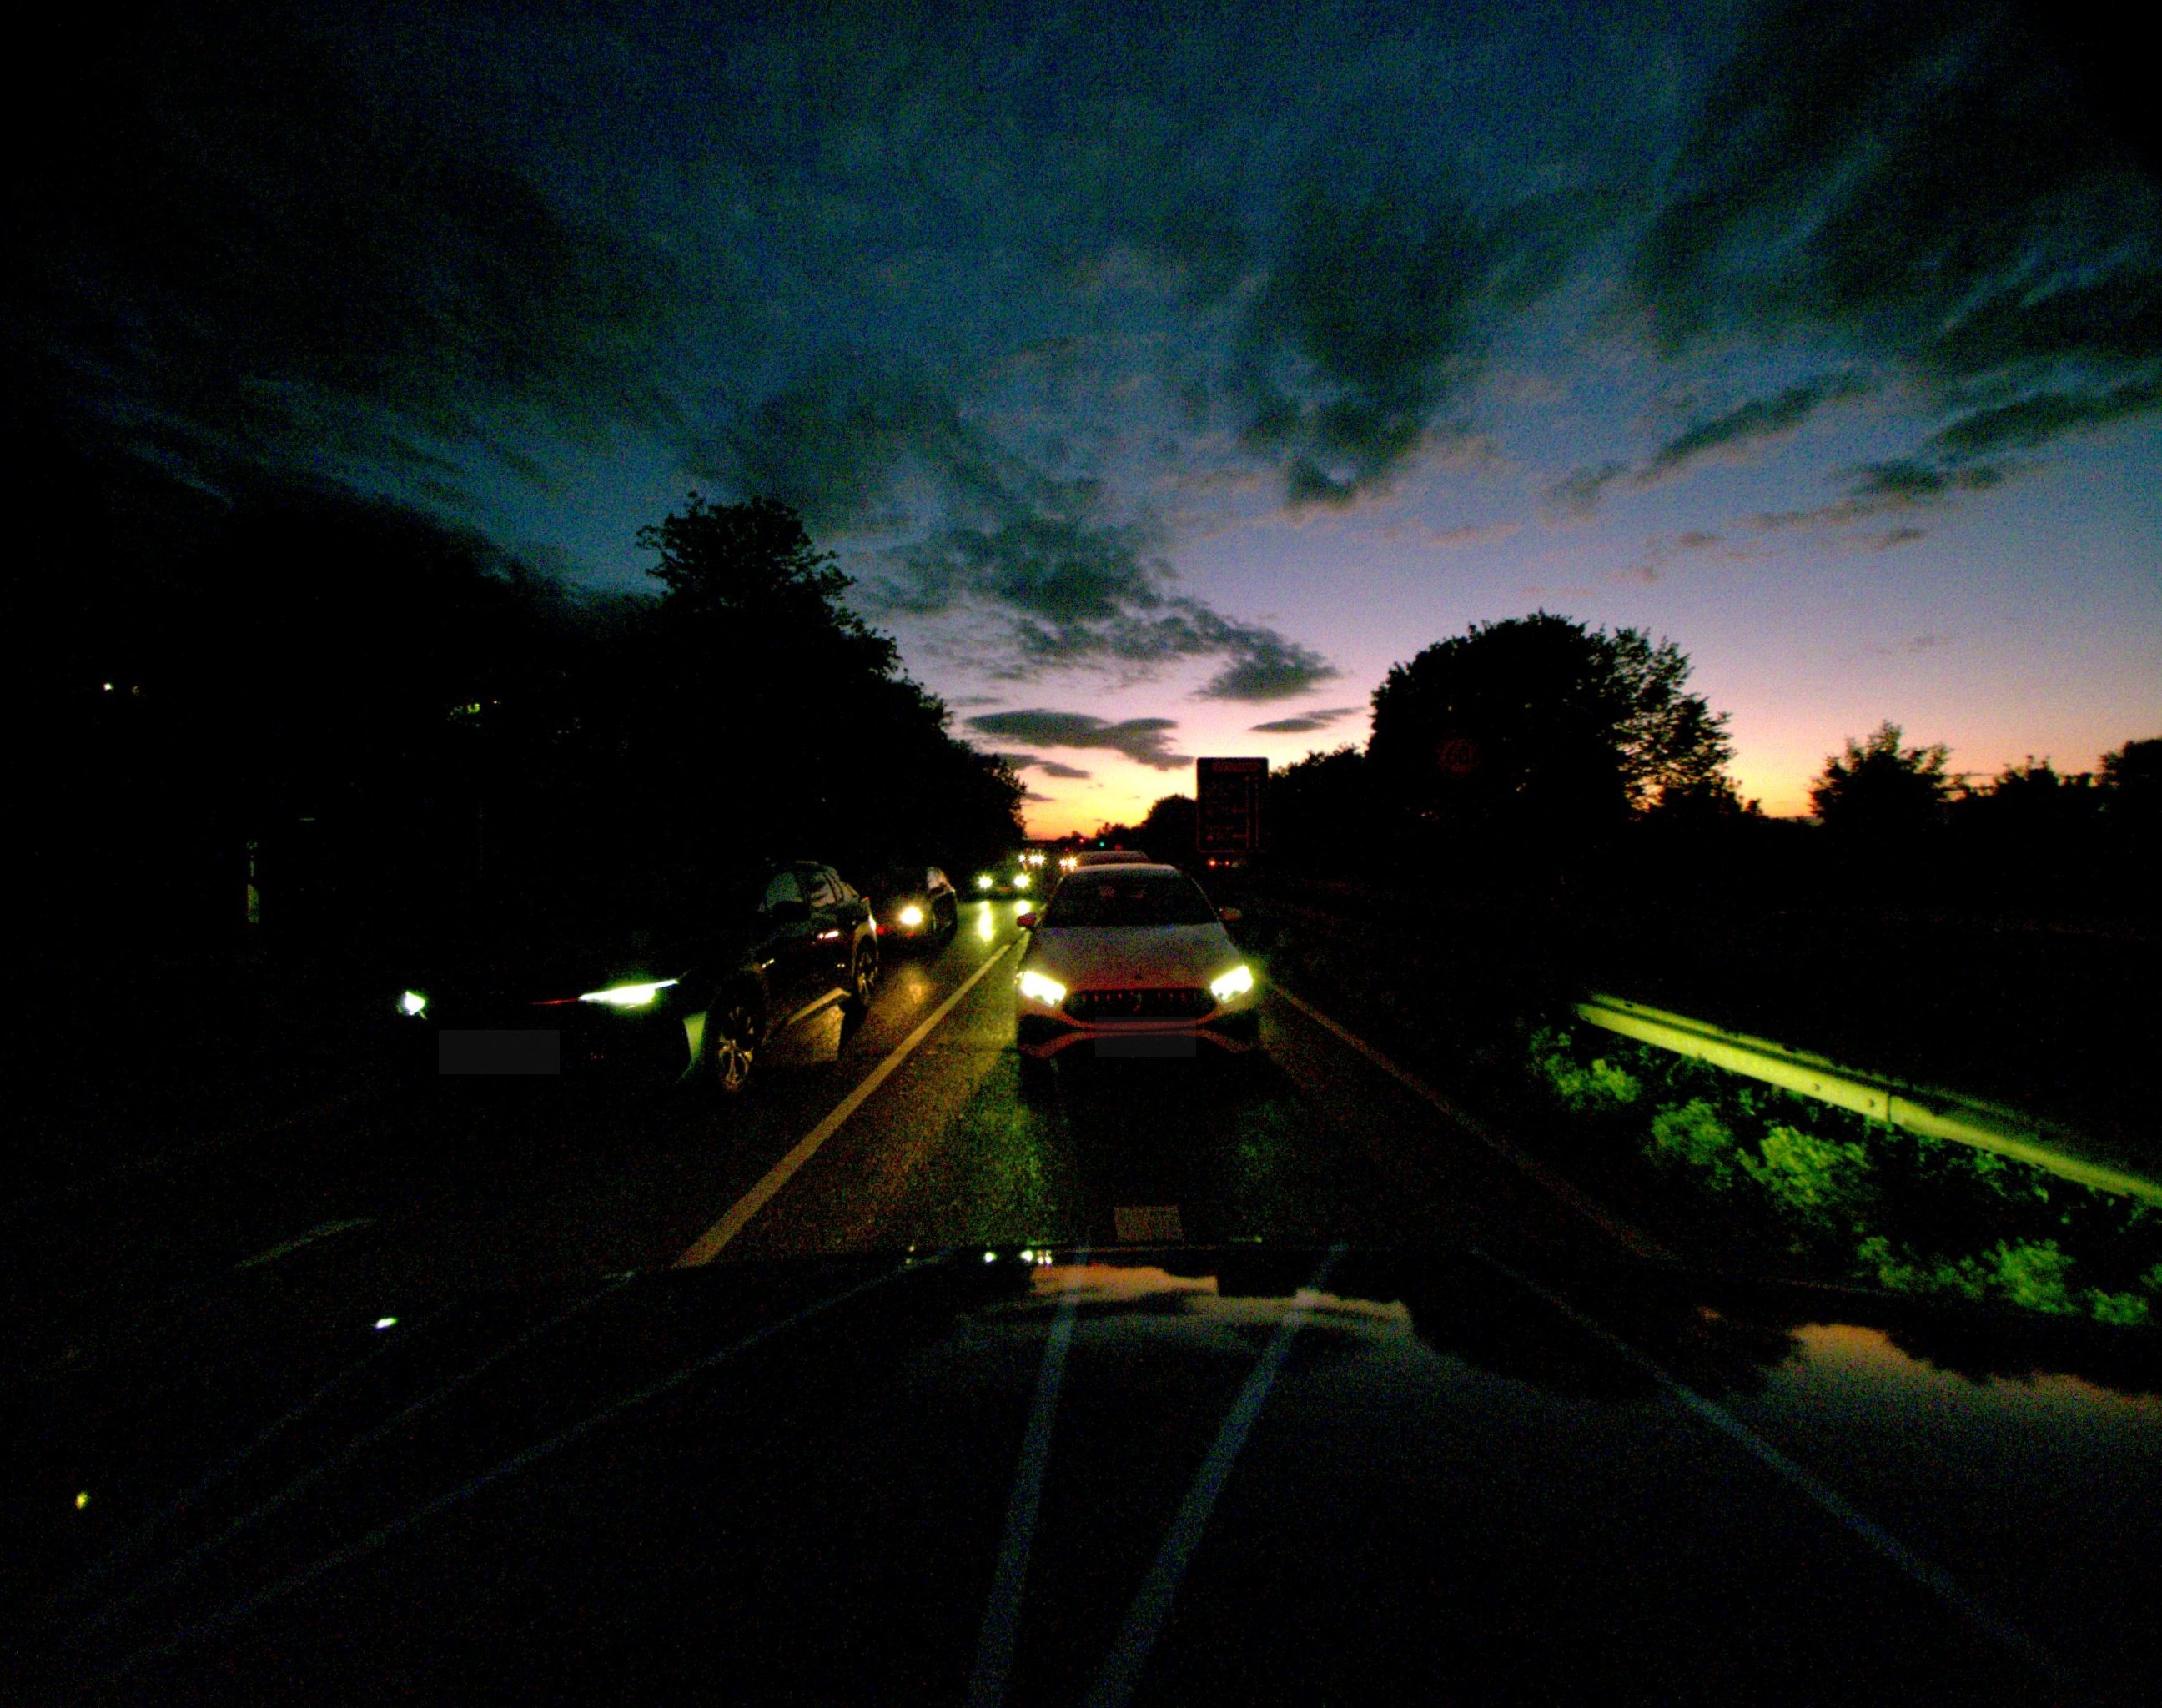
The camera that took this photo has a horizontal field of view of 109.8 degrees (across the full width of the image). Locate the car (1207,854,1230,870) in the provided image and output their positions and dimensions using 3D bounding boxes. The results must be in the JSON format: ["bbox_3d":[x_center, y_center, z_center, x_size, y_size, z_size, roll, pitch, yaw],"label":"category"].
[{"bbox_3d":[14.133,0.798,78.094,1.632,1.496,4.591,0,0,1],"label":"car"}]

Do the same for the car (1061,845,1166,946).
[{"bbox_3d":[0.620,0.731,15.258,1.760,1.692,4.250,-2,0,2],"label":"car"}]

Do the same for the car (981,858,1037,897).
[{"bbox_3d":[-2.896,0.922,31.357,1.819,1.360,3.999,-2,1,1],"label":"car"}]

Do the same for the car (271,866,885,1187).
[{"bbox_3d":[-3.177,0.933,6.094,1.901,1.547,4.301,-3,0,2],"label":"car"}]

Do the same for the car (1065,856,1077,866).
[{"bbox_3d":[-1.399,0.938,108.473,1.606,1.291,3.552,-2,1,-1],"label":"car"}]

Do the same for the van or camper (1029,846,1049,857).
[{"bbox_3d":[-12.404,-0.797,222.366,3.955,3.107,9.928,0,0,-15],"label":"van or camper"}]

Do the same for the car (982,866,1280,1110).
[{"bbox_3d":[0.384,0.890,7.137,1.819,1.428,4.647,-3,0,2],"label":"car"}]

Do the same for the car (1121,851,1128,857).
[{"bbox_3d":[11.744,-0.009,205.997,1.781,1.551,3.999,-2,1,1],"label":"car"}]

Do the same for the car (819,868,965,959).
[{"bbox_3d":[-3.326,0.994,14.081,1.621,1.405,3.756,-1,0,2],"label":"car"}]
